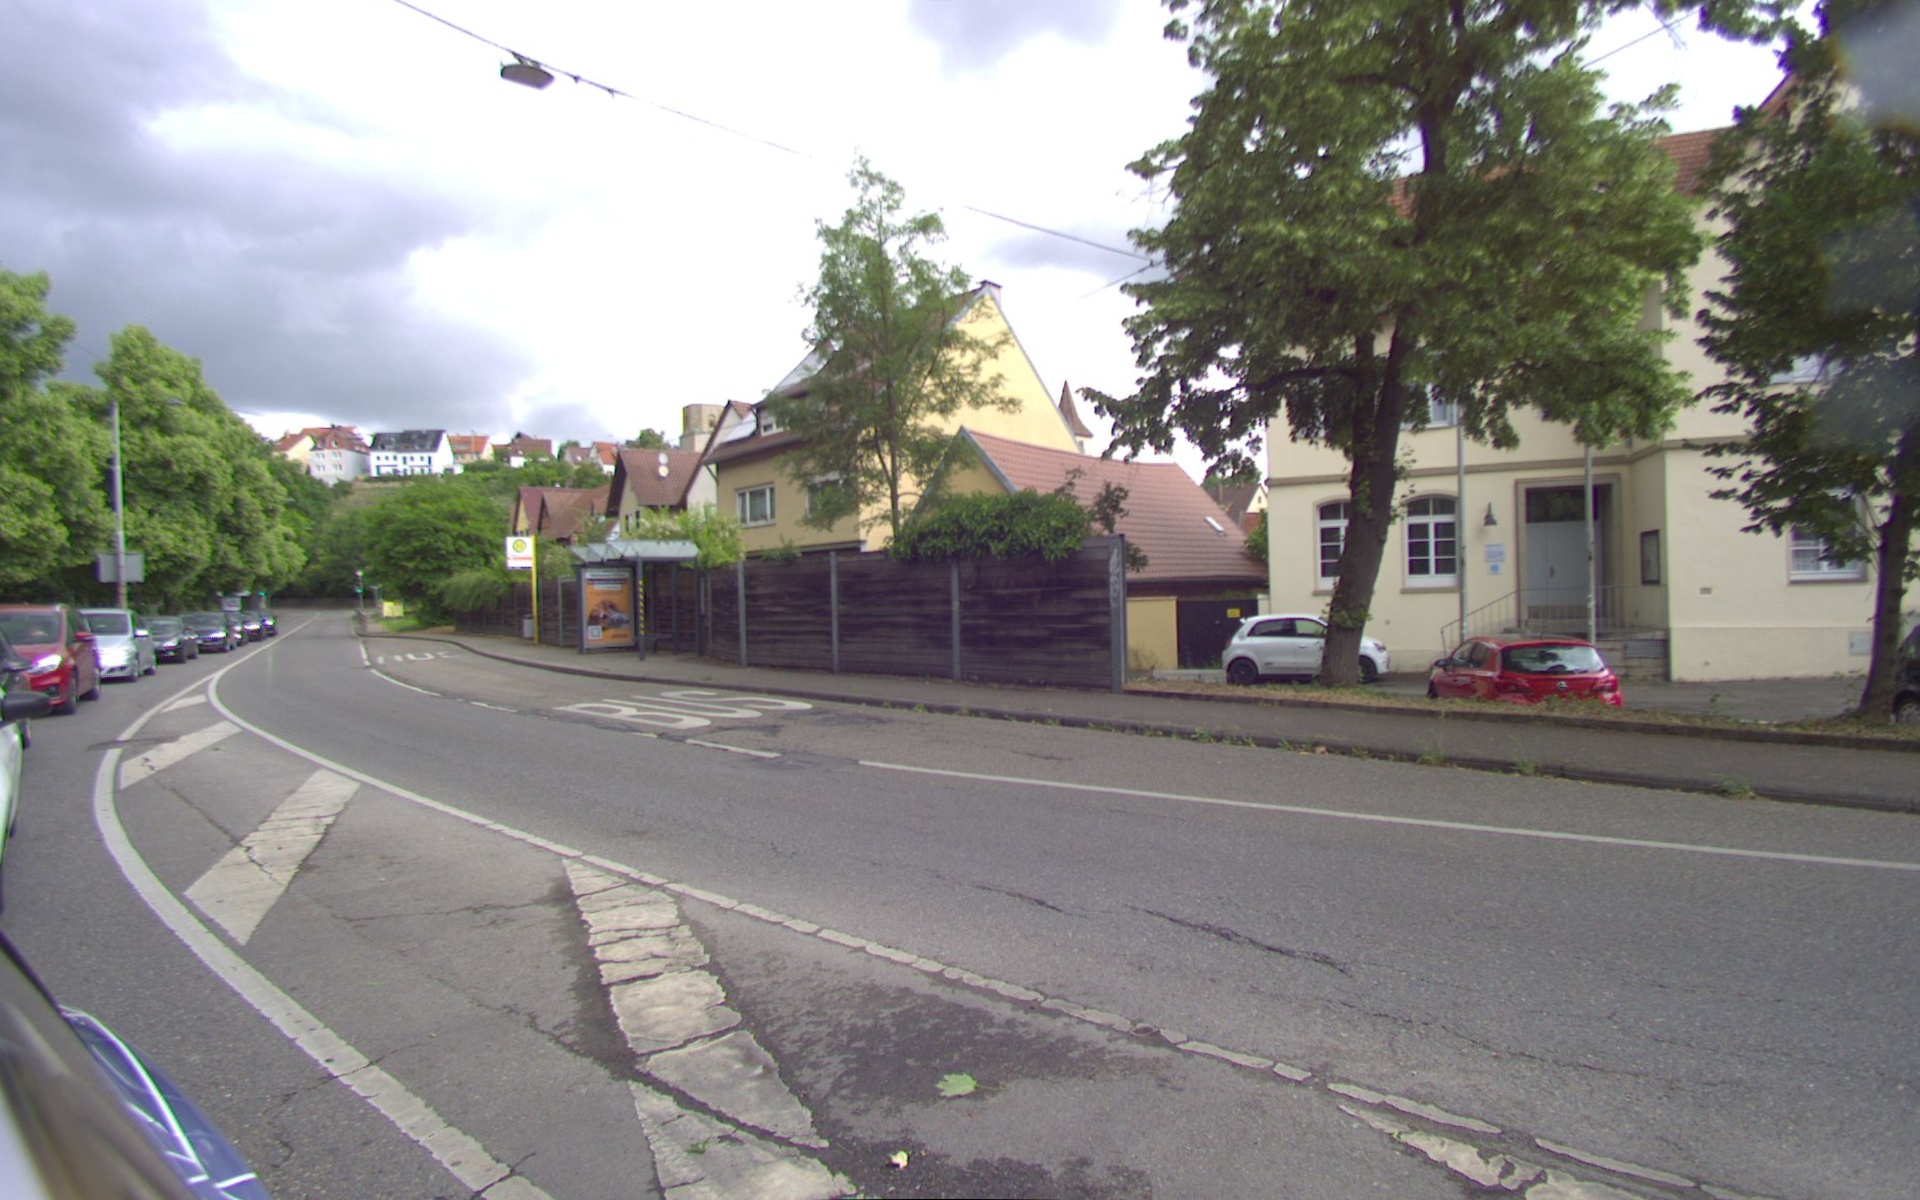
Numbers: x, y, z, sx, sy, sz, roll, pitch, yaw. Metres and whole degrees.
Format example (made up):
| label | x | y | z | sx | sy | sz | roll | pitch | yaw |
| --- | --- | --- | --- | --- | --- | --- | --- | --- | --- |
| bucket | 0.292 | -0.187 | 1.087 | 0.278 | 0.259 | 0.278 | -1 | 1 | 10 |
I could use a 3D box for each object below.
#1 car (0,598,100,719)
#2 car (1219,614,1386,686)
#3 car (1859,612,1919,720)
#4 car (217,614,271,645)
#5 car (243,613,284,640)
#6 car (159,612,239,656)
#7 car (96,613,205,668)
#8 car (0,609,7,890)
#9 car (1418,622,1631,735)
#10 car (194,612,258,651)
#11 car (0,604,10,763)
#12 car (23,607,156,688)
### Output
| label | x | y | z | sx | sy | sz | roll | pitch | yaw |
| --- | --- | --- | --- | --- | --- | --- | --- | --- | --- |
| car | -14.464 | 0.828 | 15.507 | 1.649 | 1.654 | 4.110 | -1 | 0 | -36 |
| car | 7.713 | 1.105 | 22.937 | 3.454 | 1.503 | 1.643 | -1 | 0 | 19 |
| car | 12.561 | 0.824 | 11.715 | 1.465 | 1.320 | 3.394 | -1 | 0 | 6 |
| car | -32.795 | 1.324 | 46.439 | 1.617 | 1.278 | 3.637 | -1 | 0 | -29 |
| car | -35.904 | 1.345 | 52.228 | 1.396 | 1.259 | 3.306 | -1 | 0 | -29 |
| car | -26.619 | 1.140 | 35.494 | 1.669 | 1.422 | 3.994 | -1 | 0 | -29 |
| car | -23.669 | 1.129 | 29.728 | 1.823 | 1.468 | 4.013 | -1 | 0 | -29 |
| car | -6.221 | 0.819 | 5.398 | 1.604 | 1.519 | 4.004 | -1 | 0 | -43 |
| car | 8.086 | 1.047 | 14.862 | 1.582 | 1.363 | 3.619 | -1 | 0 | 10 |
| car | -30.005 | 1.253 | 41.473 | 1.679 | 1.457 | 3.879 | -1 | 0 | -29 |
| car | -10.733 | 0.826 | 10.115 | 1.705 | 1.532 | 4.005 | -1 | 0 | -42 |
| car | -19.013 | 0.956 | 22.263 | 1.755 | 1.580 | 4.010 | -1 | 0 | -34 |
